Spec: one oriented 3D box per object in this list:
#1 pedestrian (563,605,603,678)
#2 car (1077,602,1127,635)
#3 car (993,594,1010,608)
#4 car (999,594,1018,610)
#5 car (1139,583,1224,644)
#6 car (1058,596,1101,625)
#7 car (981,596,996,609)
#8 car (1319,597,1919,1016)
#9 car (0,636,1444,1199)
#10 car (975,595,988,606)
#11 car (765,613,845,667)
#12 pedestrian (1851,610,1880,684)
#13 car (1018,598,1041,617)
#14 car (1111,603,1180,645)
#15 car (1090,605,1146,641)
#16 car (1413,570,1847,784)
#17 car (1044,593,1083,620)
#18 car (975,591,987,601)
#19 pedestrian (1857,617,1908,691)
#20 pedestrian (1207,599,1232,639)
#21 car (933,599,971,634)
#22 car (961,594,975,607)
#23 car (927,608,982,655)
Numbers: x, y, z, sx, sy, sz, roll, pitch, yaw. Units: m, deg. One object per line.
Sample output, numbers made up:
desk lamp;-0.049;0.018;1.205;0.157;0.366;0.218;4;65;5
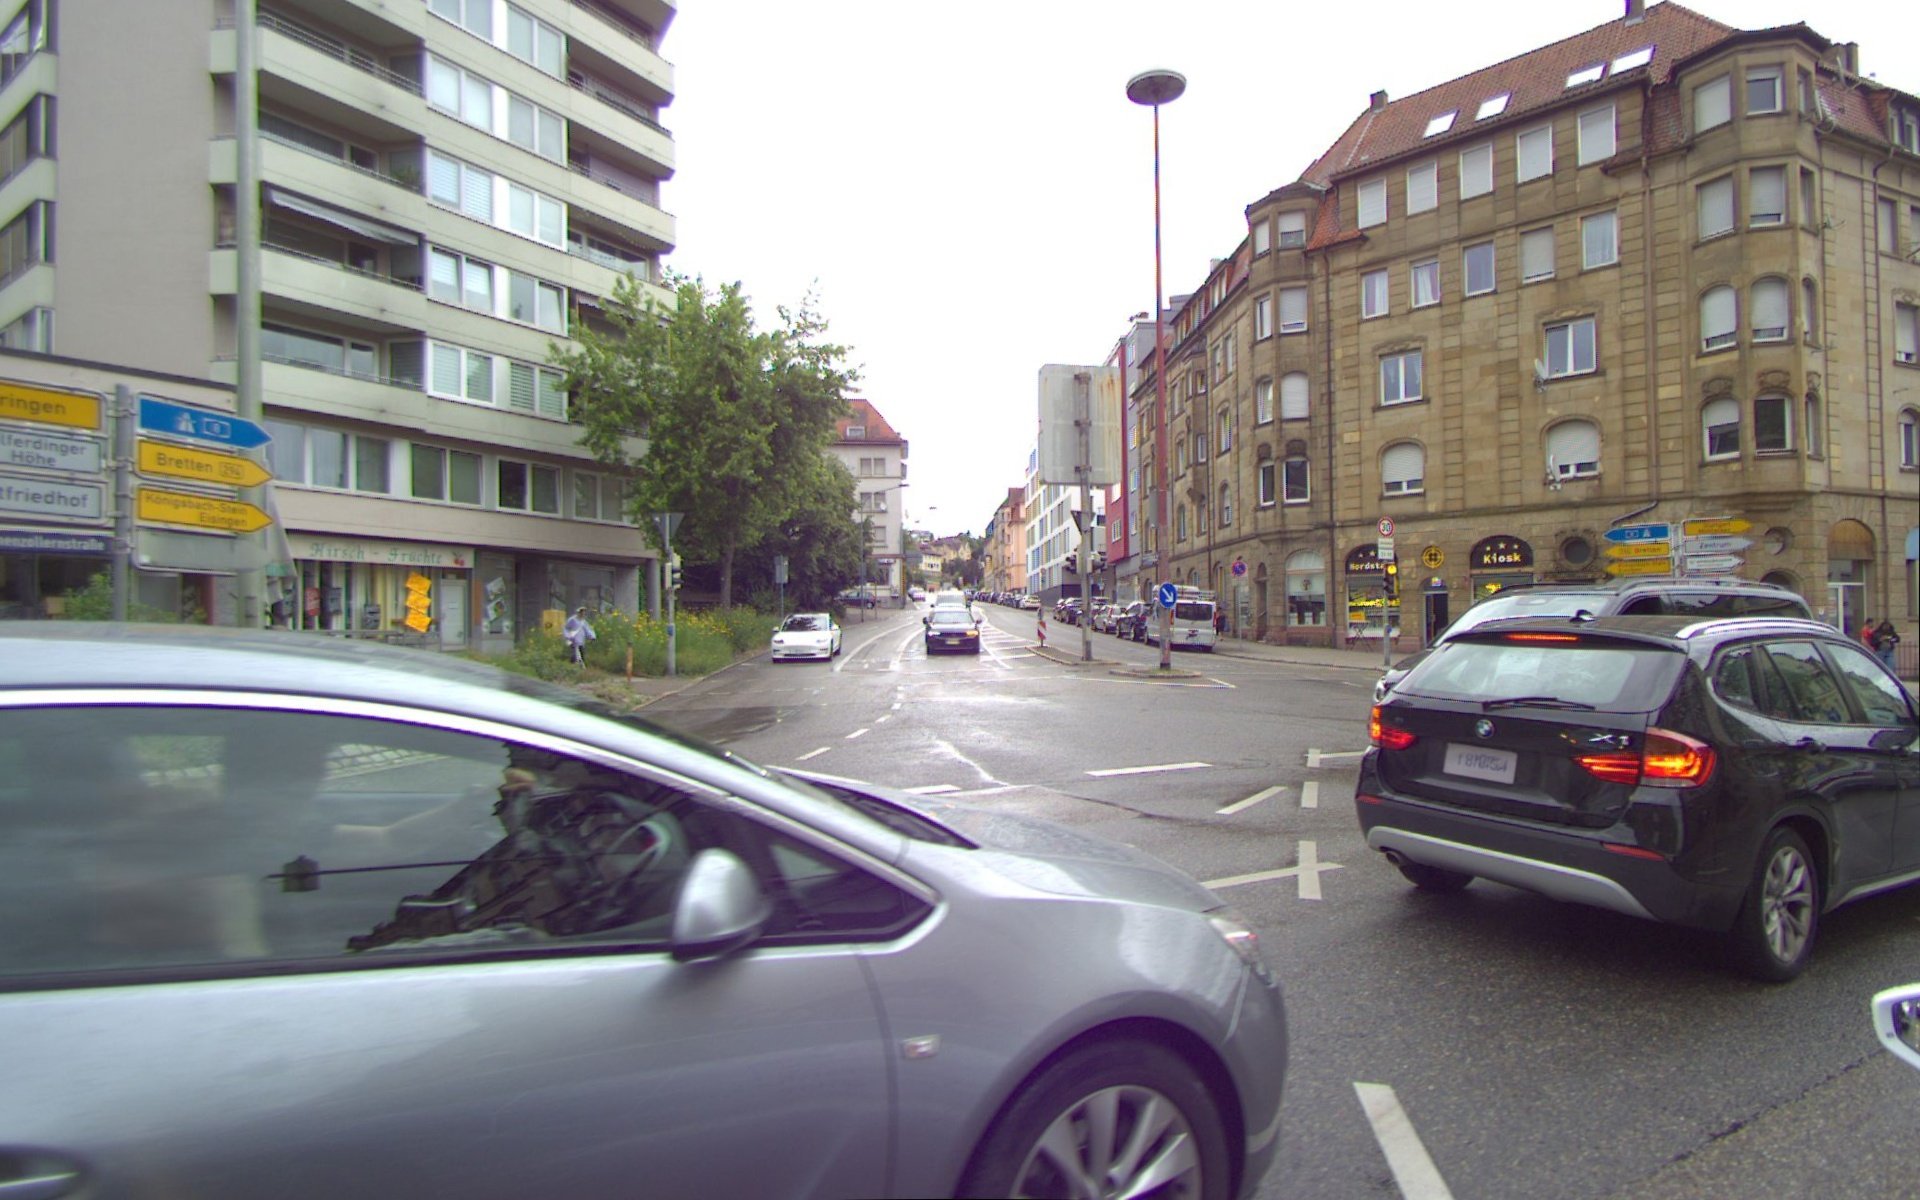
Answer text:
pedestrian;-9.063;0.988;24.156;0.612;1.715;0.620;1;0;12
car;8.012;1.027;57.069;1.962;1.727;4.213;2;-1;-4
car;5.367;0.164;129.770;1.665;1.727;4.213;2;-1;-4
car;5.648;0.251;116.808;1.665;1.727;4.213;2;-1;-4
car;8.662;0.537;39.670;1.962;2.197;4.801;2;-1;-4
car;7.485;0.683;63.284;1.962;1.727;4.213;2;-1;-4
car;3.956;0.326;141.683;1.665;1.727;4.213;2;-1;-4
car;4.110;0.861;5.578;4.167;1.555;1.743;3;-1;-31
car;-1.071;0.848;2.081;4.132;1.502;1.744;2;-1;-30
car;3.335;0.069;158.537;1.665;1.727;4.213;2;-1;-4
car;-4.794;1.216;31.655;1.876;1.511;4.393;1;0;-1
pedestrian;22.571;1.170;25.036;0.517;1.797;0.690;1;0;43
car;6.812;0.730;98.512;1.665;1.727;4.213;2;-1;-4
car;8.183;1.030;44.638;1.962;1.727;4.379;2;-1;-4
car;8.097;1.172;51.791;1.962;1.727;4.213;2;-1;-4
car;6.891;0.765;10.348;4.086;1.870;1.739;2;-3;-22
car;7.014;0.472;68.529;1.962;1.727;4.213;2;-1;-4
car;3.539;-0.683;171.609;1.665;1.727;4.213;2;-1;-4
pedestrian;22.236;1.292;24.221;0.816;1.725;0.636;1;0;37
pedestrian;11.203;0.818;43.303;0.774;1.683;0.665;1;0;-29
car;-0.408;0.757;47.243;1.704;1.558;4.302;0;0;-1
car;1.090;0.104;138.432;1.665;1.727;4.213;2;-1;-4
car;-0.212;1.028;34.116;1.732;1.511;4.023;0;0;-1
